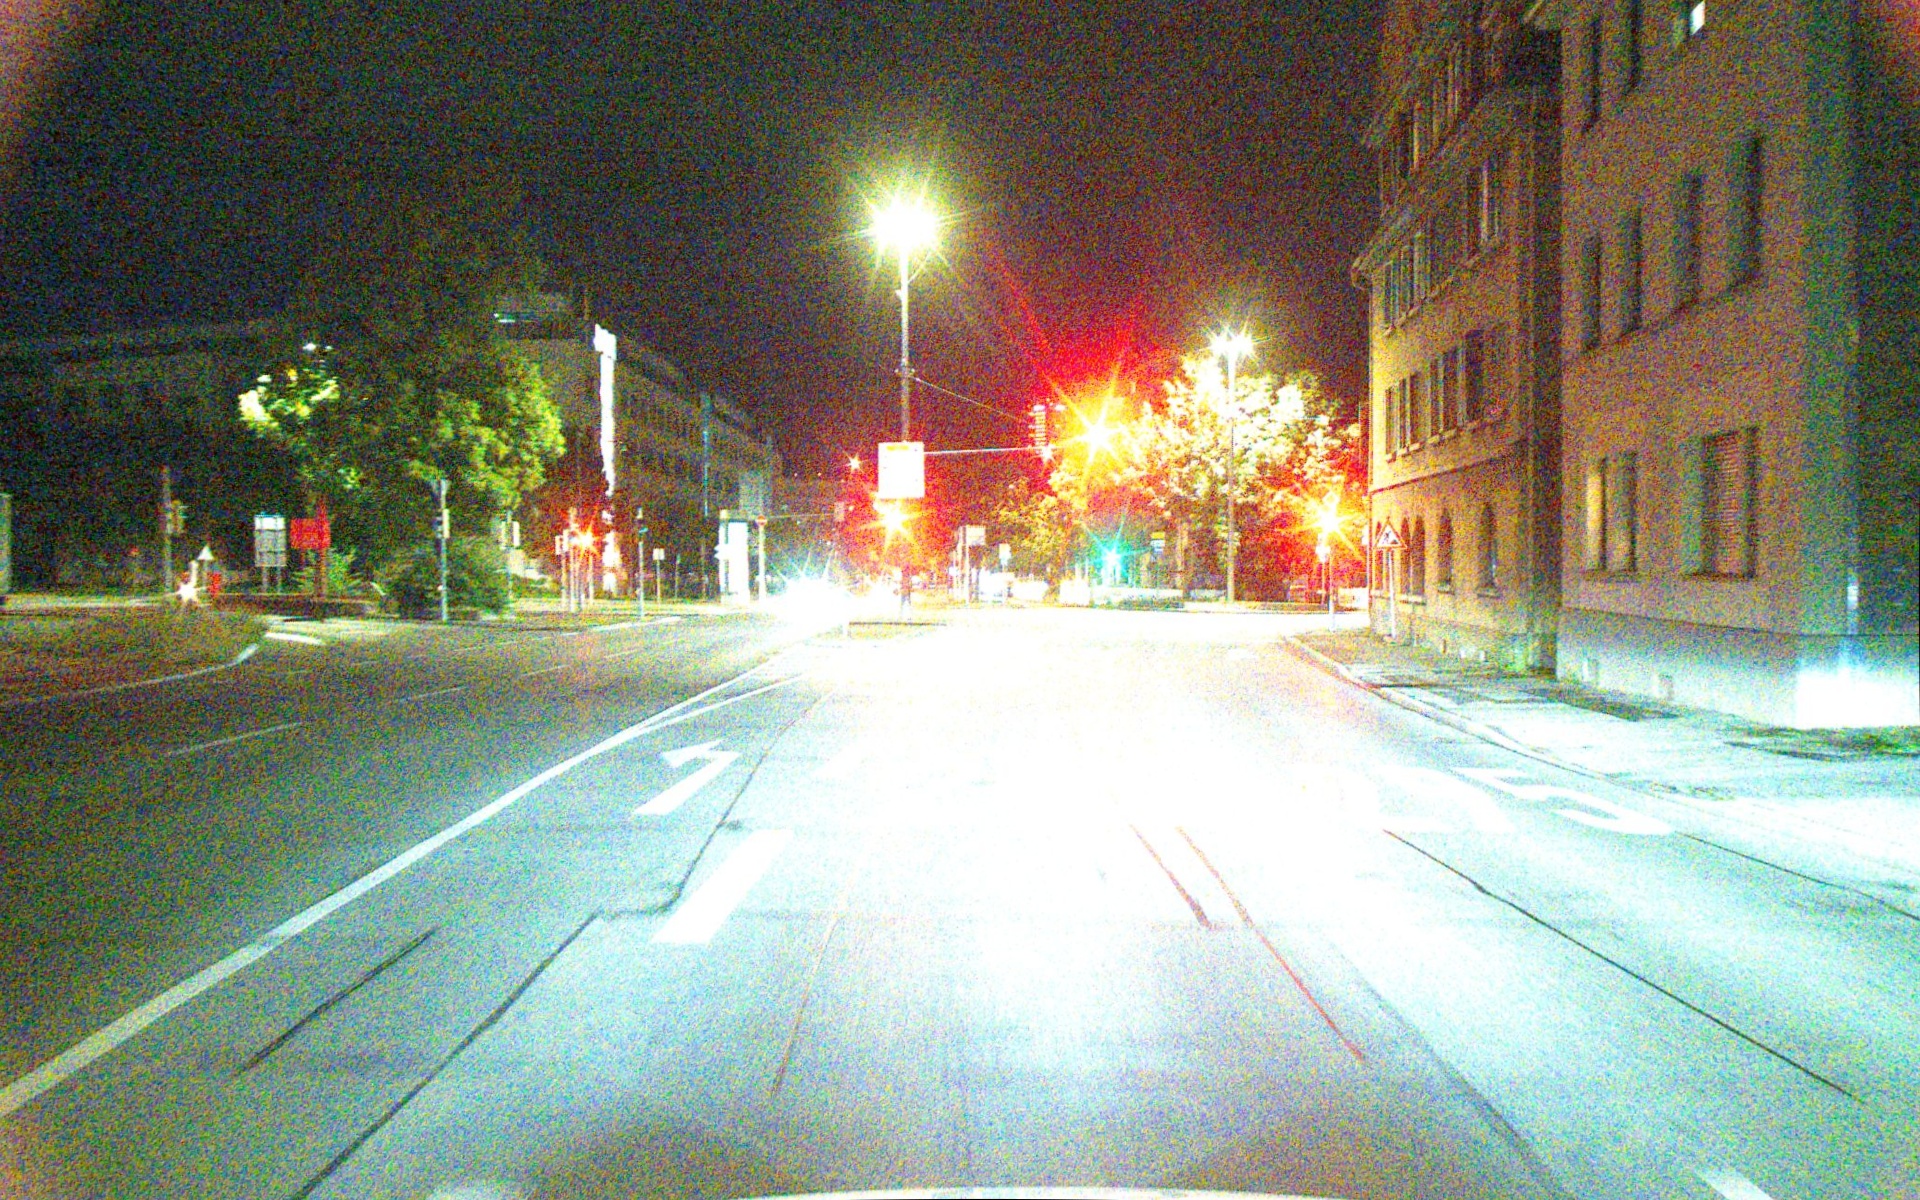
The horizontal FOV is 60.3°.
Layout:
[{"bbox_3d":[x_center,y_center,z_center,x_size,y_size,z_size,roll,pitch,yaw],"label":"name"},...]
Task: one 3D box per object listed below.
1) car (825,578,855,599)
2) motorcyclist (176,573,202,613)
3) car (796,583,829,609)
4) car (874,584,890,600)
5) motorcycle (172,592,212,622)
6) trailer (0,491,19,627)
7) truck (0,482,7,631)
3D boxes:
[{"bbox_3d":[-8.074,-0.779,111.334,1.722,1.345,3.547,0,0,0],"label":"car"},{"bbox_3d":[-24.833,-0.231,53.280,0.643,1.283,0.570,0,0,-42],"label":"motorcyclist"},{"bbox_3d":[-8.809,-0.238,98.980,1.582,1.541,4.000,0,0,1],"label":"car"},{"bbox_3d":[-8.954,-0.929,189.931,1.722,1.758,3.547,0,0,0],"label":"car"},{"bbox_3d":[-24.861,0.222,53.514,0.575,0.911,2.122,-3,2,-42],"label":"motorcycle"},{"bbox_3d":[-29.657,-1.196,49.250,2.583,3.857,6.455,0,0,-28],"label":"trailer"},{"bbox_3d":[-24.988,-1.117,39.683,2.902,3.863,9.479,0,0,-26],"label":"truck"}]
